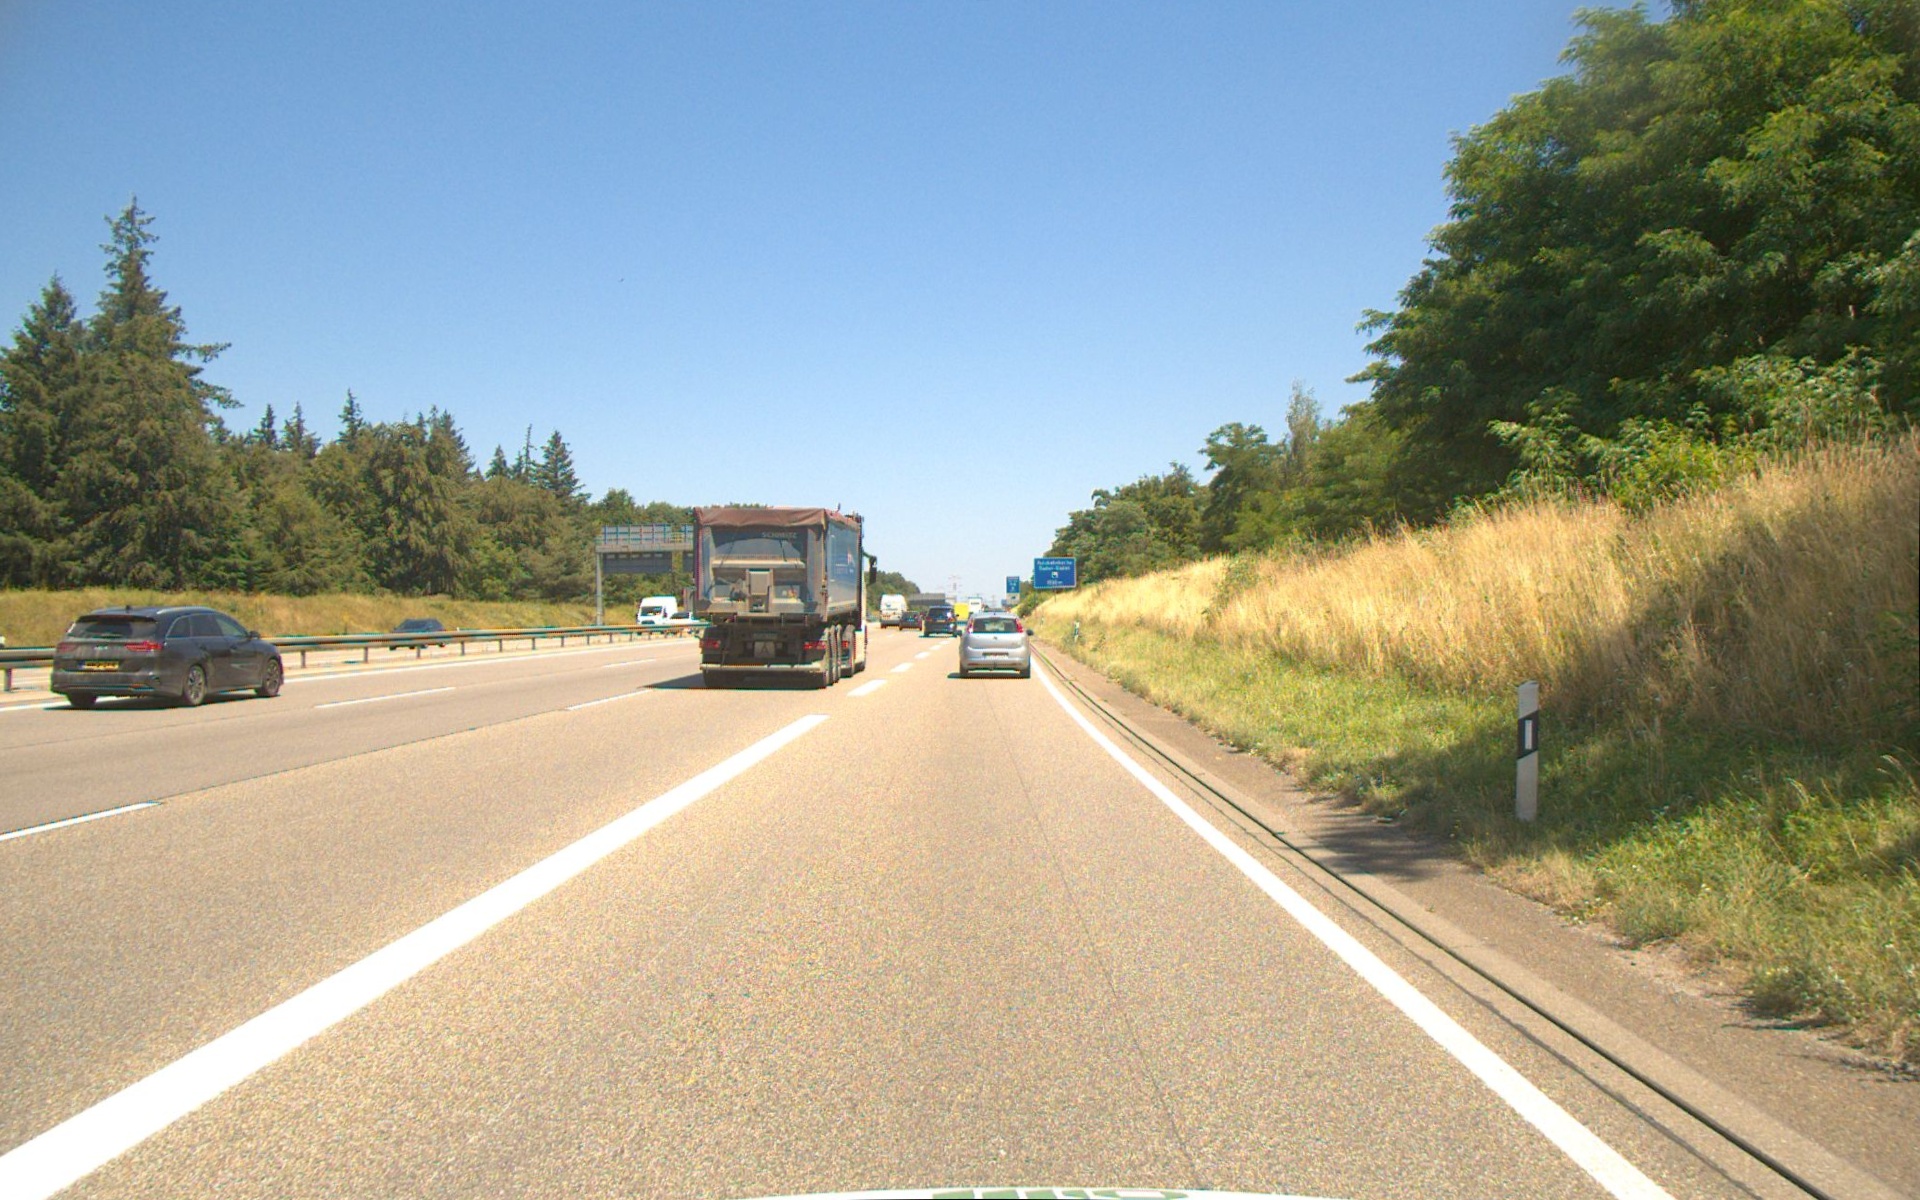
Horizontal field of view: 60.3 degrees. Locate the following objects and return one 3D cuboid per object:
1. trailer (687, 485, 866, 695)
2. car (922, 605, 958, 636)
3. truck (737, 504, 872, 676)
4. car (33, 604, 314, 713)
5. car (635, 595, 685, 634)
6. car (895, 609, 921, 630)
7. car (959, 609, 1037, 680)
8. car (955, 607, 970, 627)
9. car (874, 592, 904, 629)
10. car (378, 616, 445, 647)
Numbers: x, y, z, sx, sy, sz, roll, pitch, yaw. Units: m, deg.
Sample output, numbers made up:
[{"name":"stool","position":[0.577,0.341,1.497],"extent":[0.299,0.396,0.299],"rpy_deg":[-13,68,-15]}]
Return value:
[{"name":"trailer","position":[-3.616,-0.197,34.761],"extent":[2.681,3.824,9.109],"rpy_deg":[0,0,0]},{"name":"car","position":[-1.145,1.156,94.802],"extent":[1.793,1.701,4.001],"rpy_deg":[1,-1,2]},{"name":"truck","position":[-3.614,-0.232,39.662],"extent":[2.629,3.824,5.944],"rpy_deg":[0,0,0]},{"name":"car","position":[-11.815,0.812,25.287],"extent":[1.794,1.456,5.000],"rpy_deg":[0,0,1]},{"name":"car","position":[-22.533,1.031,124.463],"extent":[2.295,2.758,6.874],"rpy_deg":[-2,0,1]},{"name":"car","position":[-3.890,1.441,124.285],"extent":[1.855,1.495,4.261],"rpy_deg":[1,0,0]},{"name":"car","position":[0.839,0.999,38.812],"extent":[1.684,1.517,3.736],"rpy_deg":[1,0,-1]},{"name":"car","position":[0.315,1.818,179.623],"extent":[1.578,2.049,4.000],"rpy_deg":[1,0,0]},{"name":"car","position":[-5.939,0.908,139.407],"extent":[2.213,3.002,6.113],"rpy_deg":[1,0,0]},{"name":"car","position":[-27.285,1.551,82.367],"extent":[1.656,1.416,4.676],"rpy_deg":[-2,0,1]}]
